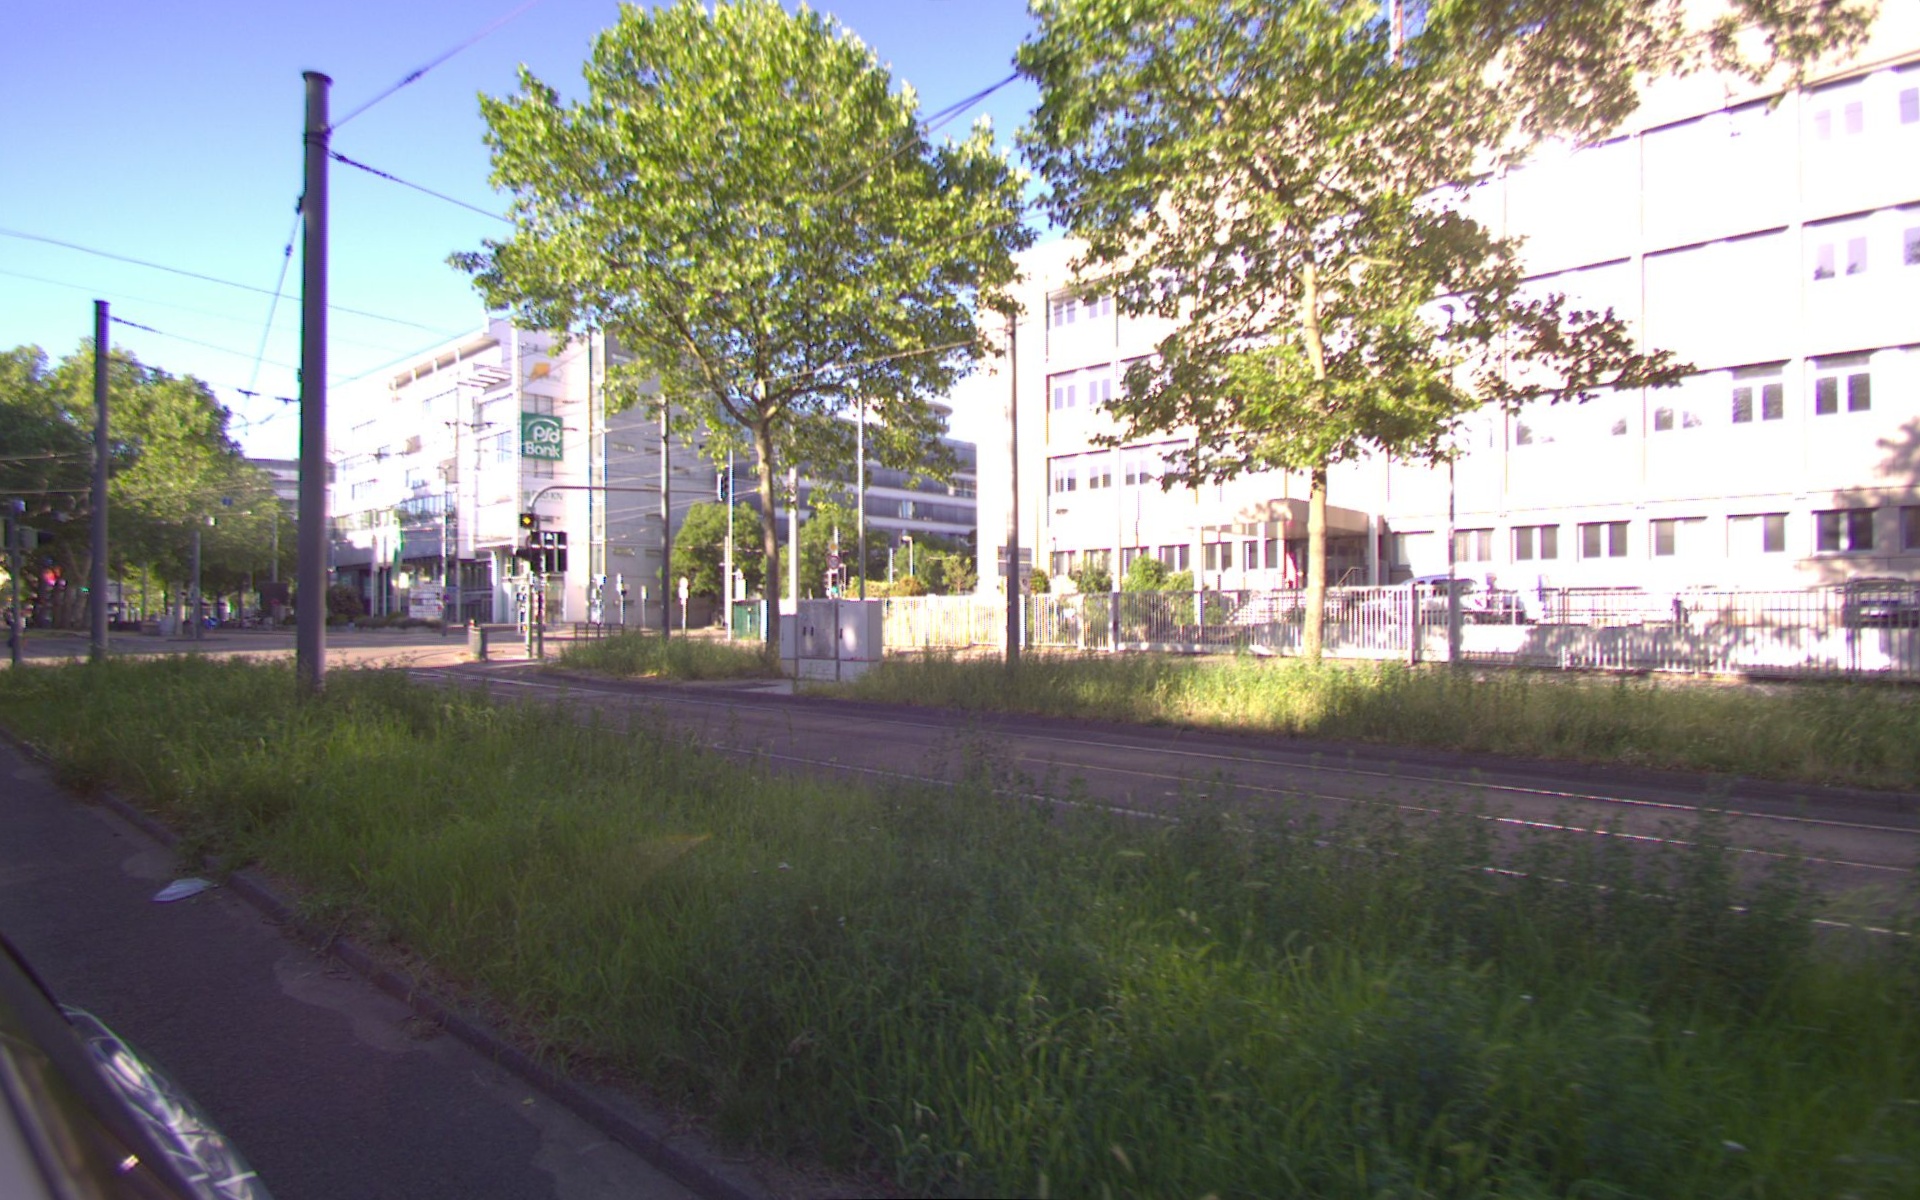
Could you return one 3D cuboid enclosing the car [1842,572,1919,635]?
[{"bbox_3d":[27.501,0.097,30.125,1.853,1.732,4.222,-1,0,41],"label":"car"}]

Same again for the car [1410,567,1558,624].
[{"bbox_3d":[17.197,-0.112,33.283,3.999,1.765,1.828,-1,0,42],"label":"car"}]

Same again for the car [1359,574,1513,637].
[{"bbox_3d":[14.793,0.191,31.556,3.999,1.831,1.828,-1,-1,42],"label":"car"}]
